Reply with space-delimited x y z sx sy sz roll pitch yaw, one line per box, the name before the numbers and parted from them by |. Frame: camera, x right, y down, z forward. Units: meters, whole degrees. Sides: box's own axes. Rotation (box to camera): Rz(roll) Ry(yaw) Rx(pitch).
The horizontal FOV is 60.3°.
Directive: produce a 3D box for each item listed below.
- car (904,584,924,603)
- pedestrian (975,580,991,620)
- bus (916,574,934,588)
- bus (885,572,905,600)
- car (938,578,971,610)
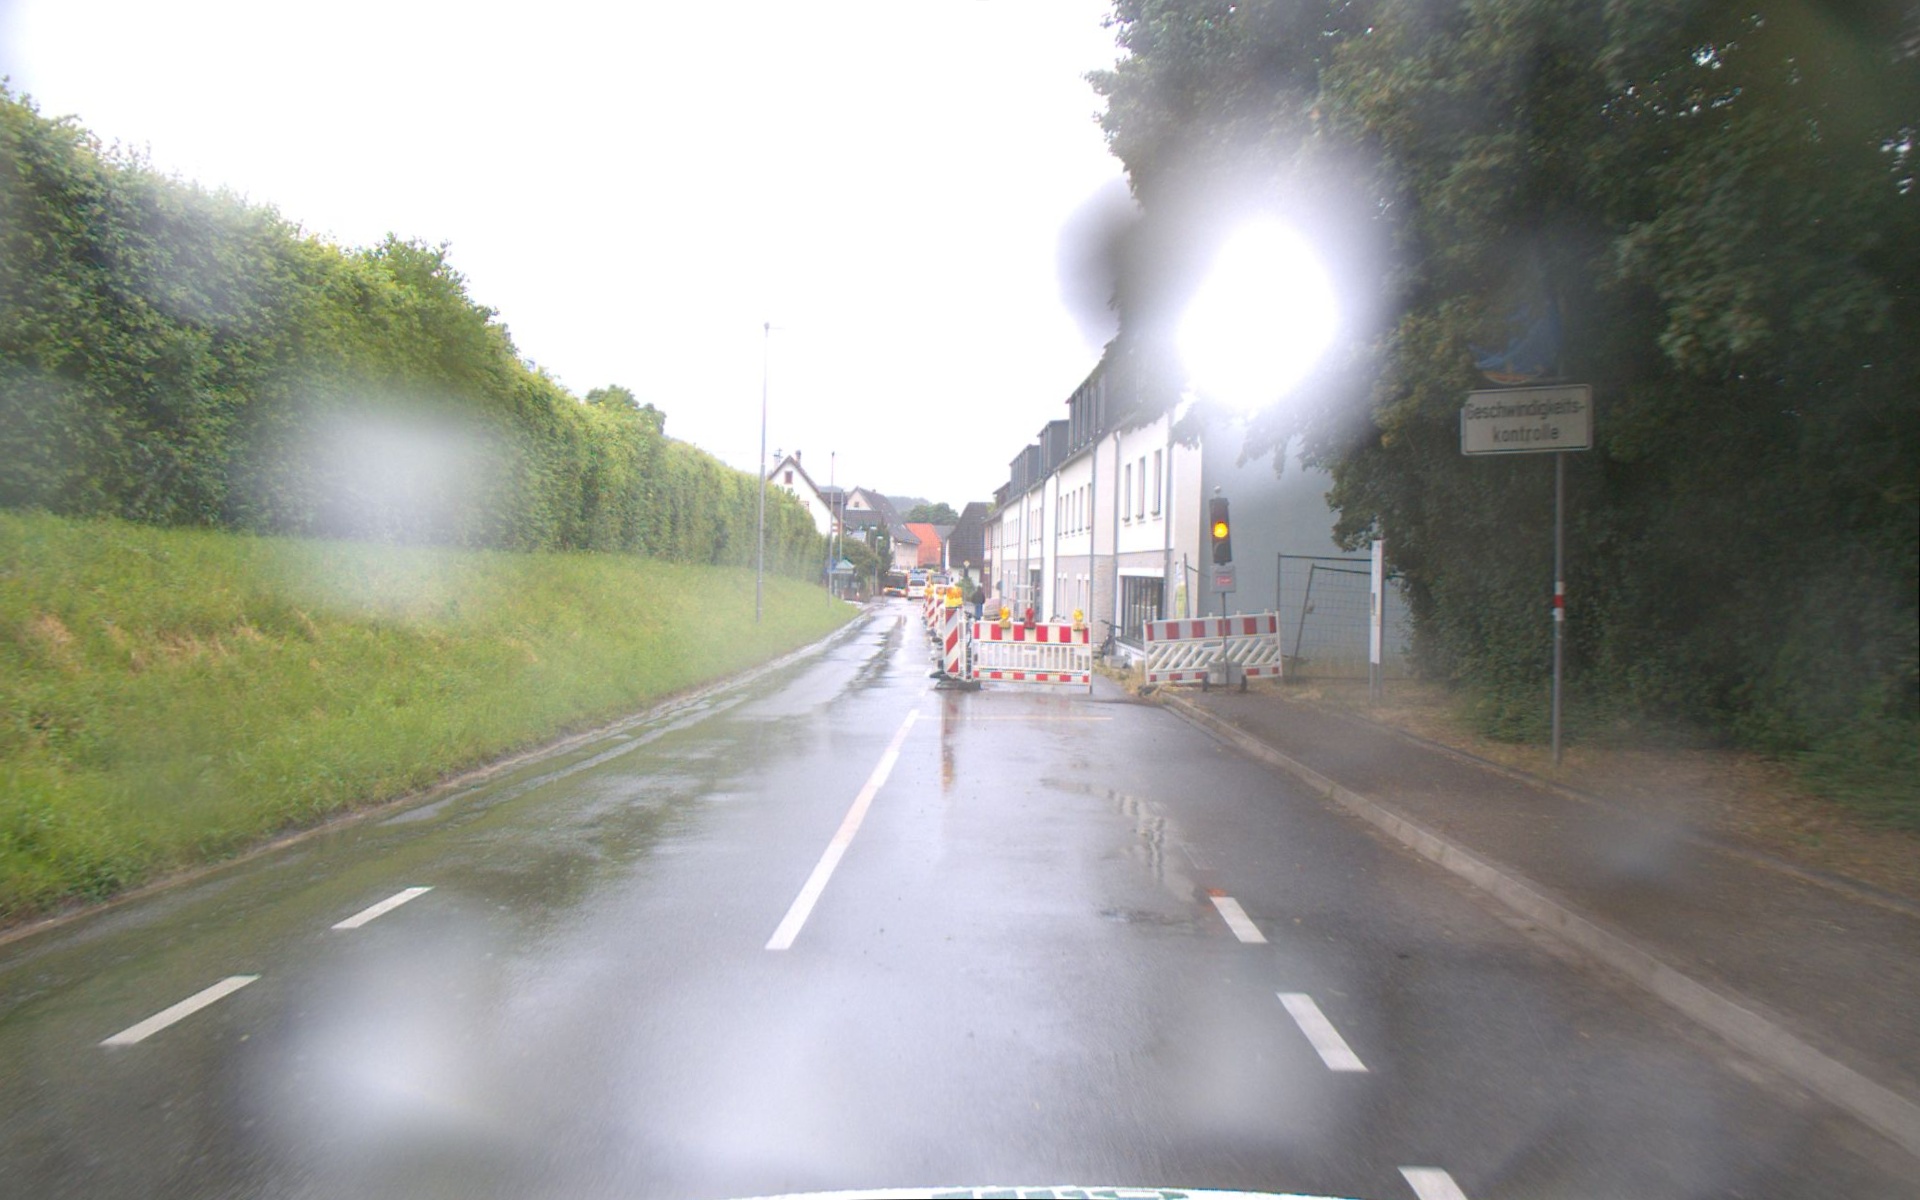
car | -4.306 -0.620 155.476 1.781 1.670 4.094 -2 0 -2
pedestrian | 1.056 -0.023 74.747 0.652 1.786 0.811 1 0 -2
bus | -3.758 -2.029 177.647 1.757 1.434 4.000 2 0 1
bus | -7.500 -1.614 190.634 2.196 3.157 7.028 -2 0 -2
car | -0.355 -0.383 100.074 1.866 1.802 3.886 -2 0 -2
